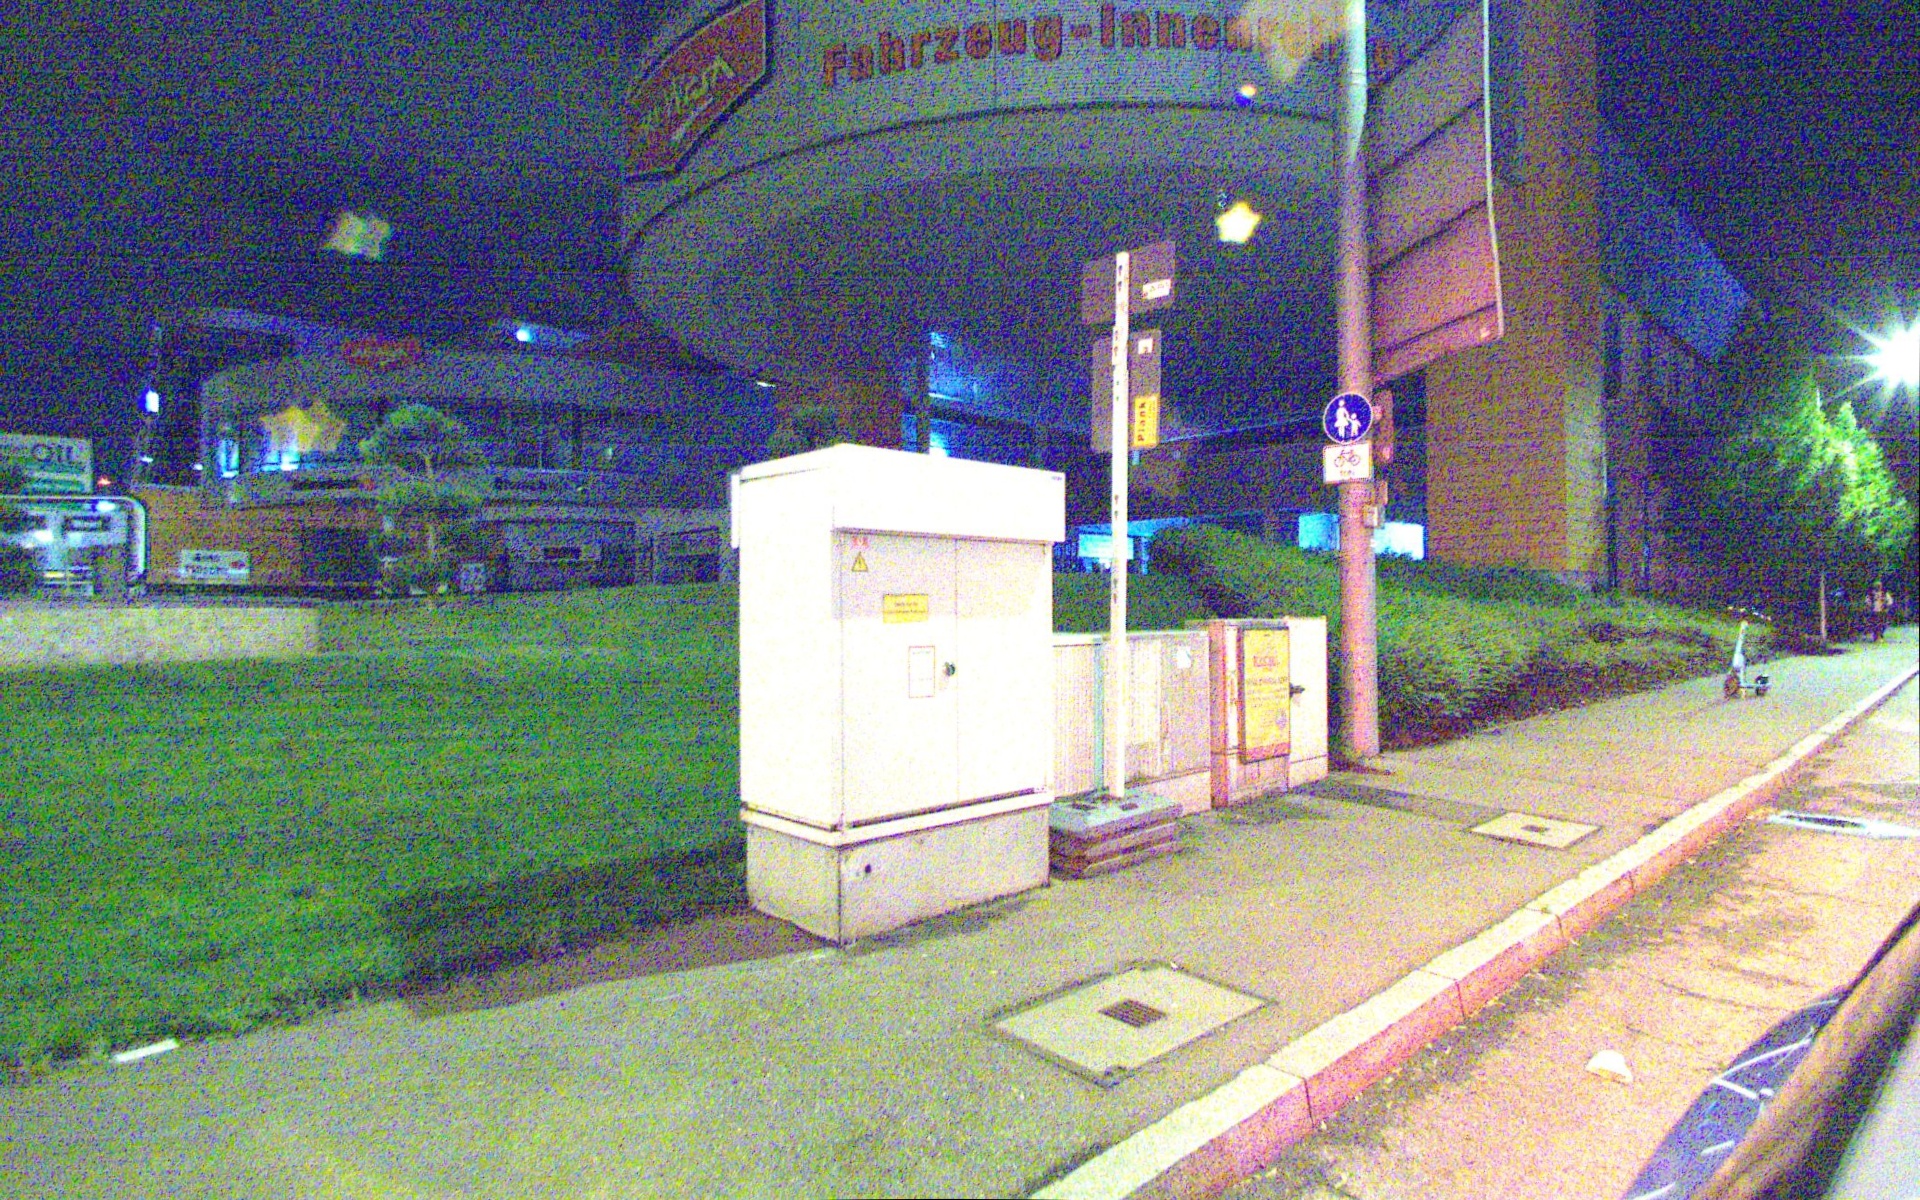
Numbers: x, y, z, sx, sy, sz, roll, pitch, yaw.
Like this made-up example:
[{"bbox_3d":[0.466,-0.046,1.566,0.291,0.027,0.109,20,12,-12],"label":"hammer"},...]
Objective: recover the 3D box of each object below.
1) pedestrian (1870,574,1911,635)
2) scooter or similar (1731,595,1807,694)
[{"bbox_3d":[28.506,0.142,31.001,0.597,1.842,0.824,-1,0,-40],"label":"pedestrian"},{"bbox_3d":[11.277,0.589,14.099,1.367,1.295,0.569,0,1,-41],"label":"scooter or similar"}]
